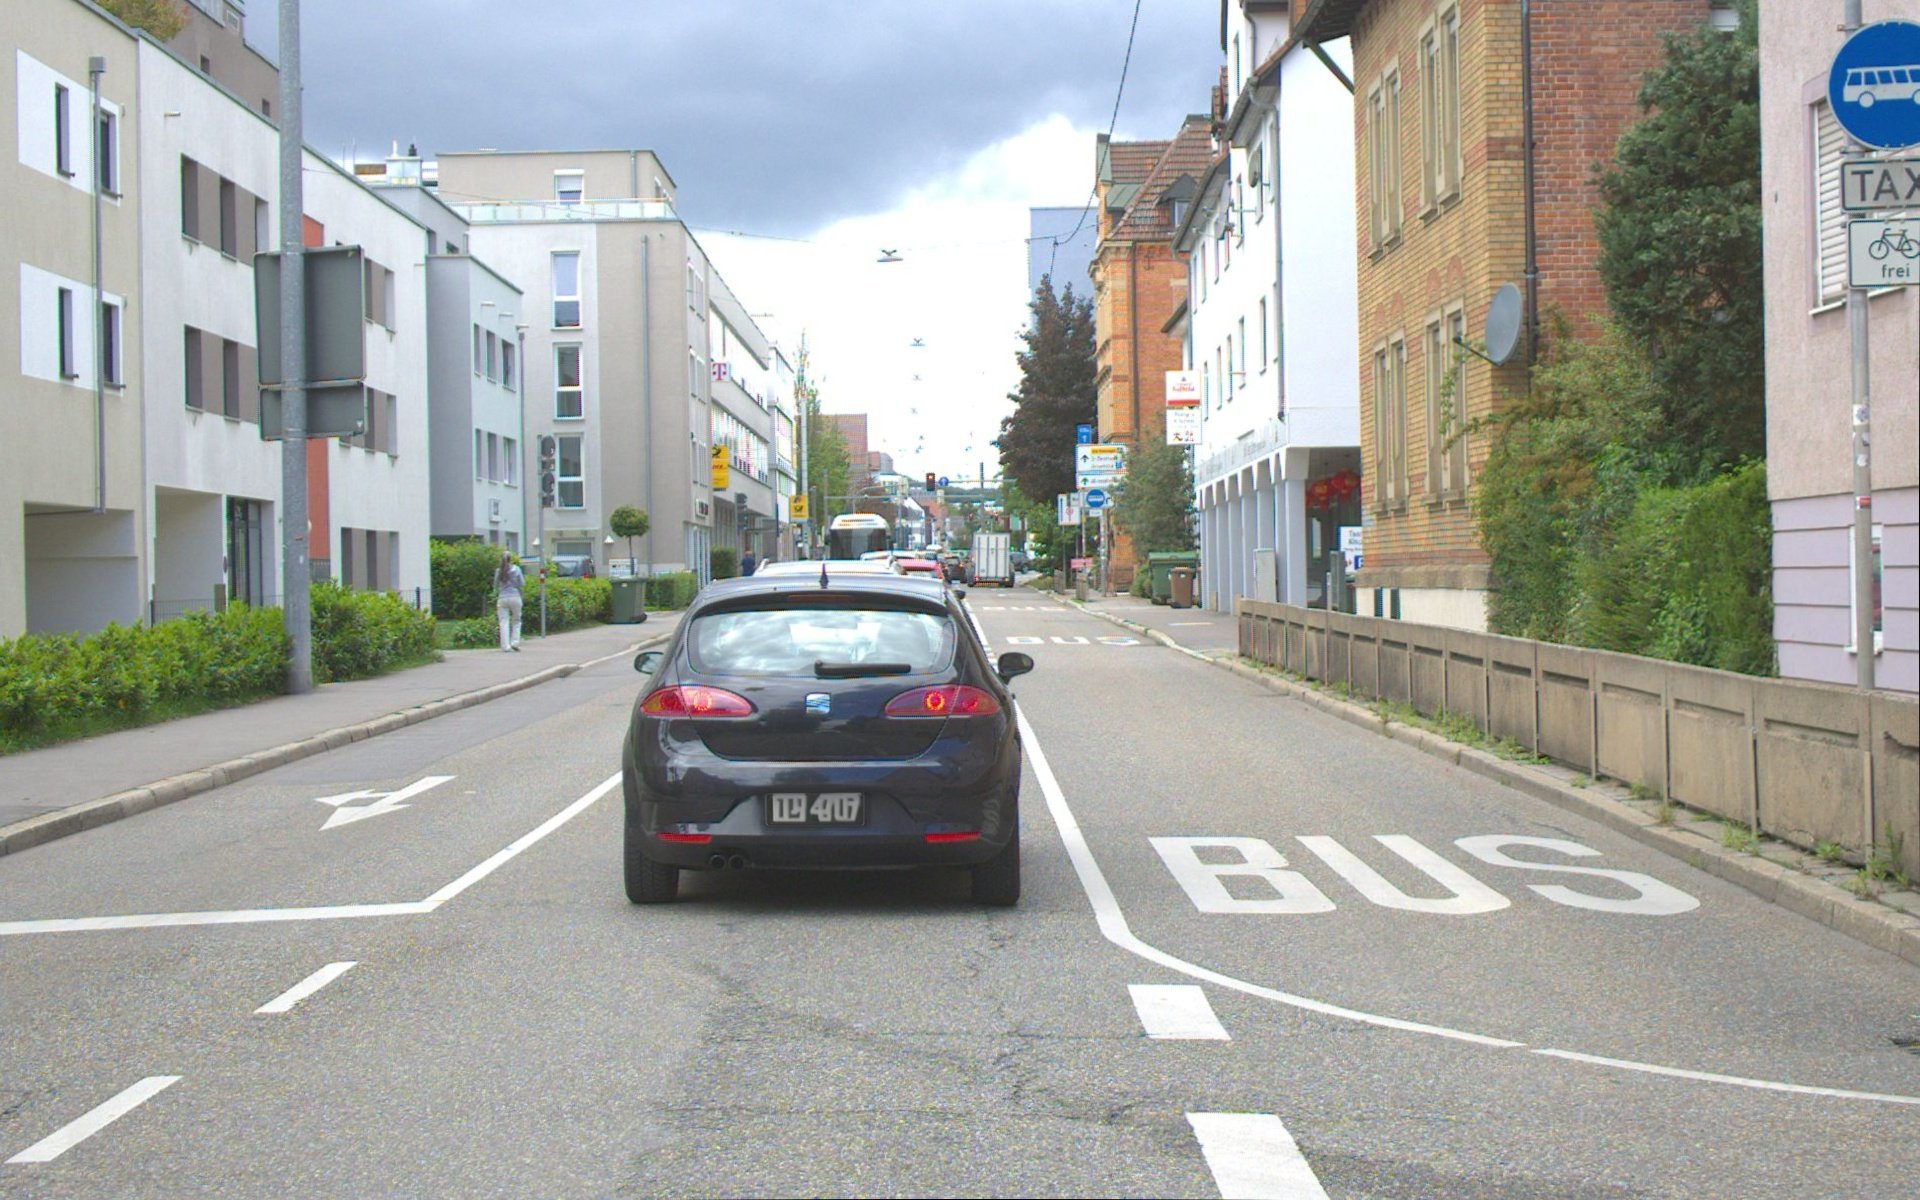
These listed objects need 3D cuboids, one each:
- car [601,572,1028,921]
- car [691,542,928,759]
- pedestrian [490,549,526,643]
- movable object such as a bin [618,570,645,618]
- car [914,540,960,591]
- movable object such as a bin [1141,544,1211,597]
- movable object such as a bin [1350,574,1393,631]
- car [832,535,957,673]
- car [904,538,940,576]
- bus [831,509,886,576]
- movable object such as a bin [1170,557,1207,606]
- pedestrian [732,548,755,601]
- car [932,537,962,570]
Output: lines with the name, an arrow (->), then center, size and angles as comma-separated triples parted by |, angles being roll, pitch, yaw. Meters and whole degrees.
car -> -0.609, 0.591, 16.191 | 1.759, 1.437, 4.000 | 0, 0, 0
car -> -1.194, 0.374, 28.785 | 1.842, 1.687, 4.000 | 0, 0, -1
pedestrian -> -7.430, -0.063, 56.513 | 0.526, 1.542, 0.541 | 0, 0, 0
movable object such as a bin -> -7.375, -0.144, 77.208 | 0.549, 1.075, 0.612 | 0, 0, 1
car -> -0.771, -1.153, 115.316 | 1.531, 1.687, 3.693 | 0, 0, -1
movable object such as a bin -> 5.918, -0.817, 94.259 | 1.818, 1.432, 1.993 | 0, 0, 1
movable object such as a bin -> 6.163, 0.035, 51.492 | 0.592, 0.837, 0.458 | 0, 0, 0
car -> -0.817, 0.035, 43.896 | 1.531, 1.687, 3.693 | 0, 0, -1
car -> -1.726, -1.955, 156.214 | 1.531, 1.687, 3.693 | -2, 1, -1
bus -> -4.484, -2.515, 153.154 | 2.210, 2.876, 8.920 | 0, 0, 0
movable object such as a bin -> 5.978, -0.488, 89.898 | 0.928, 1.279, 0.883 | 0, 0, 1
pedestrian -> -7.124, -0.836, 113.243 | 0.730, 1.723, 0.859 | 0, 0, -1
car -> -0.694, -2.469, 183.086 | 1.531, 1.687, 3.693 | -1, 1, -1
